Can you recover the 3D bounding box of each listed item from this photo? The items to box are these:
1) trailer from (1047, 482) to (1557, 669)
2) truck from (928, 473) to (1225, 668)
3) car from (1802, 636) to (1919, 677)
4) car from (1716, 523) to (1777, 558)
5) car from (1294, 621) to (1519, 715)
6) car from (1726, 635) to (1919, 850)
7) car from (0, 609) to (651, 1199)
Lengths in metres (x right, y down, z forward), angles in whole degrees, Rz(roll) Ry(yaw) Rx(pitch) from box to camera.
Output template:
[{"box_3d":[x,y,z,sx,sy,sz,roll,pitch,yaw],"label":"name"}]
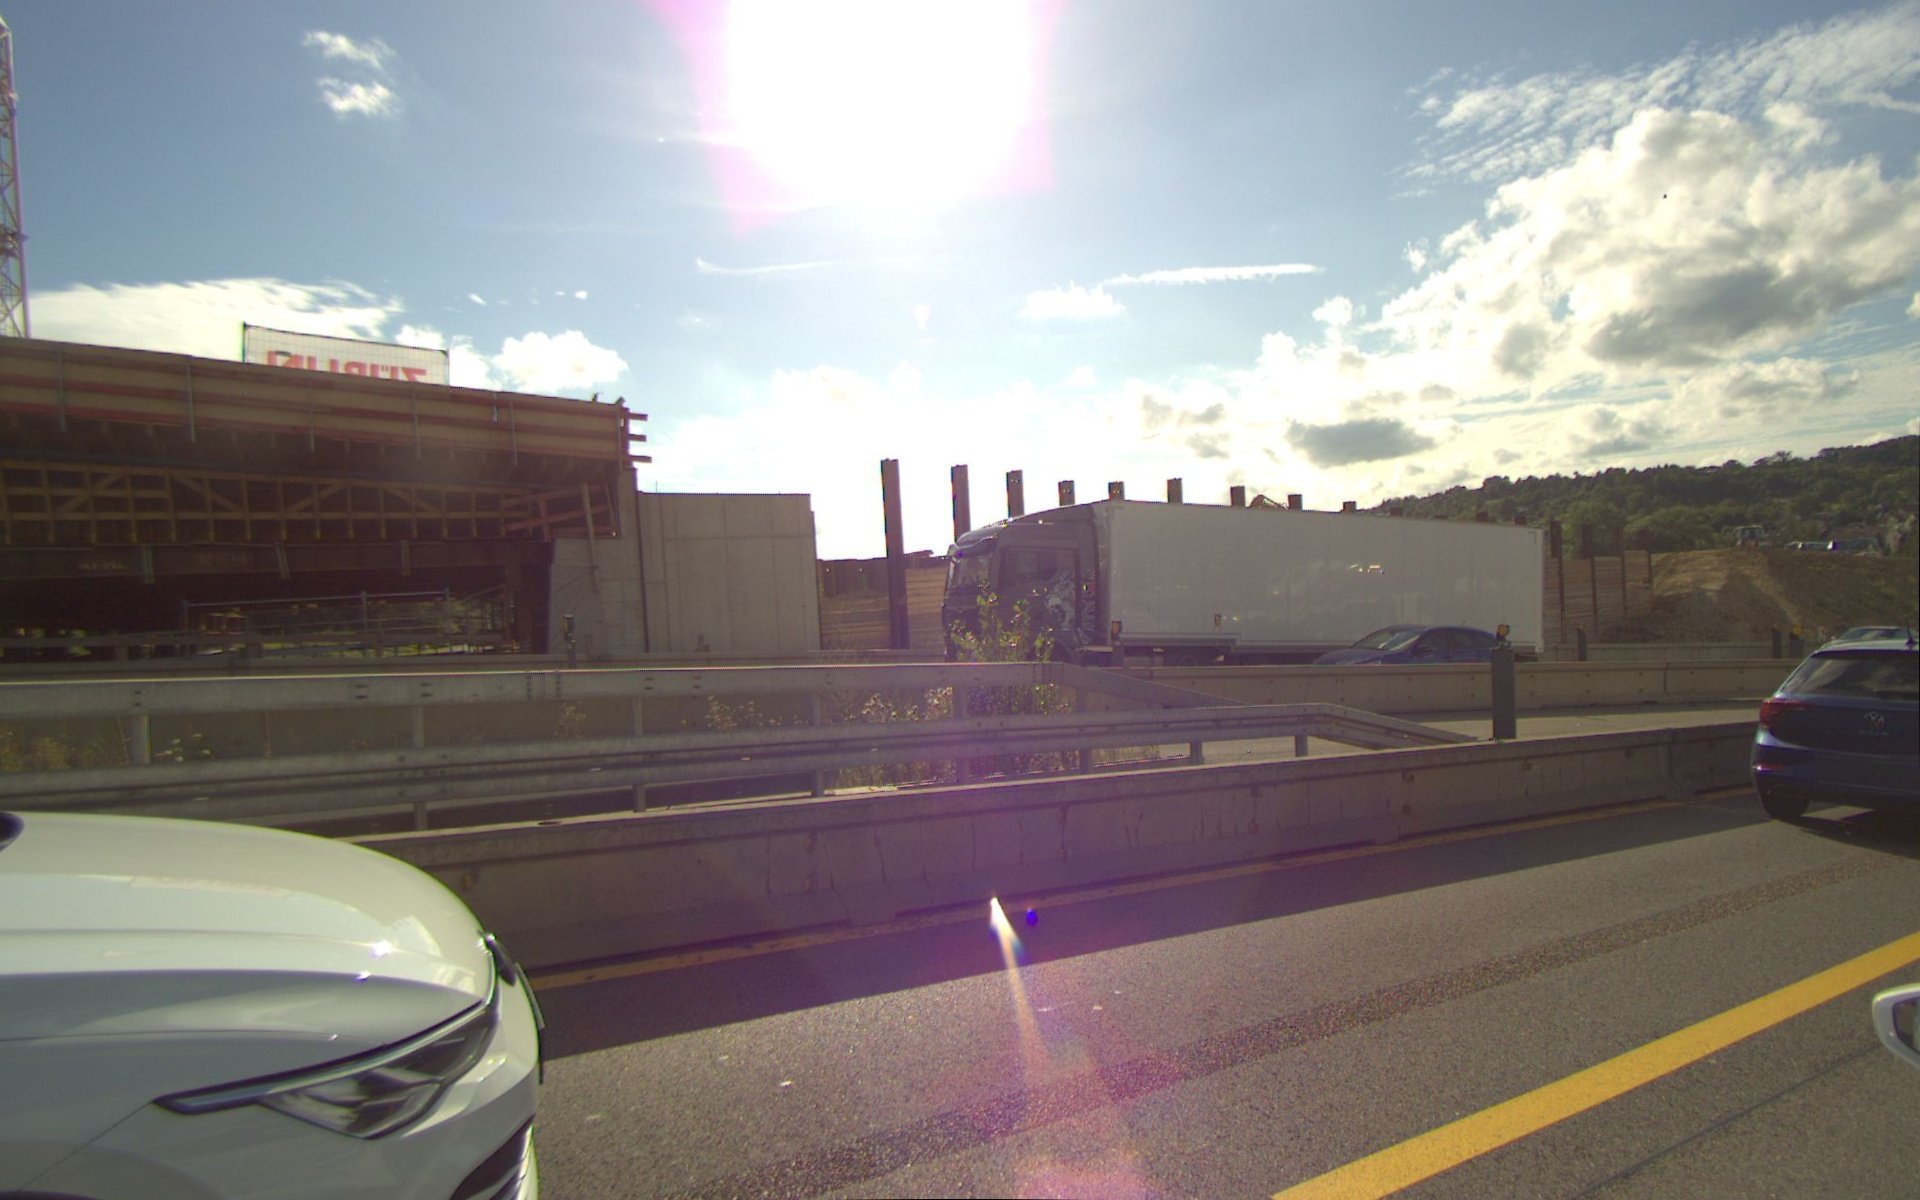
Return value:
[{"box_3d":[8.857,-0.310,24.973,13.606,3.892,2.815,2,-1,-23],"label":"trailer"},{"box_3d":[2.562,-0.486,22.279,5.933,3.838,2.771,2,-1,-23],"label":"truck"},{"box_3d":[31.014,1.912,34.255,3.942,1.289,1.916,2,-1,-22],"label":"car"},{"box_3d":[61.433,-4.602,78.427,5.264,2.167,1.984,2,-6,-33],"label":"car"},{"box_3d":[9.122,1.352,20.562,4.064,1.749,1.989,2,-1,-23],"label":"car"},{"box_3d":[8.058,1.016,8.034,3.953,1.440,1.714,1,-2,-30],"label":"car"},{"box_3d":[-2.907,0.758,1.377,4.464,1.510,1.761,2,-3,-31],"label":"car"}]
